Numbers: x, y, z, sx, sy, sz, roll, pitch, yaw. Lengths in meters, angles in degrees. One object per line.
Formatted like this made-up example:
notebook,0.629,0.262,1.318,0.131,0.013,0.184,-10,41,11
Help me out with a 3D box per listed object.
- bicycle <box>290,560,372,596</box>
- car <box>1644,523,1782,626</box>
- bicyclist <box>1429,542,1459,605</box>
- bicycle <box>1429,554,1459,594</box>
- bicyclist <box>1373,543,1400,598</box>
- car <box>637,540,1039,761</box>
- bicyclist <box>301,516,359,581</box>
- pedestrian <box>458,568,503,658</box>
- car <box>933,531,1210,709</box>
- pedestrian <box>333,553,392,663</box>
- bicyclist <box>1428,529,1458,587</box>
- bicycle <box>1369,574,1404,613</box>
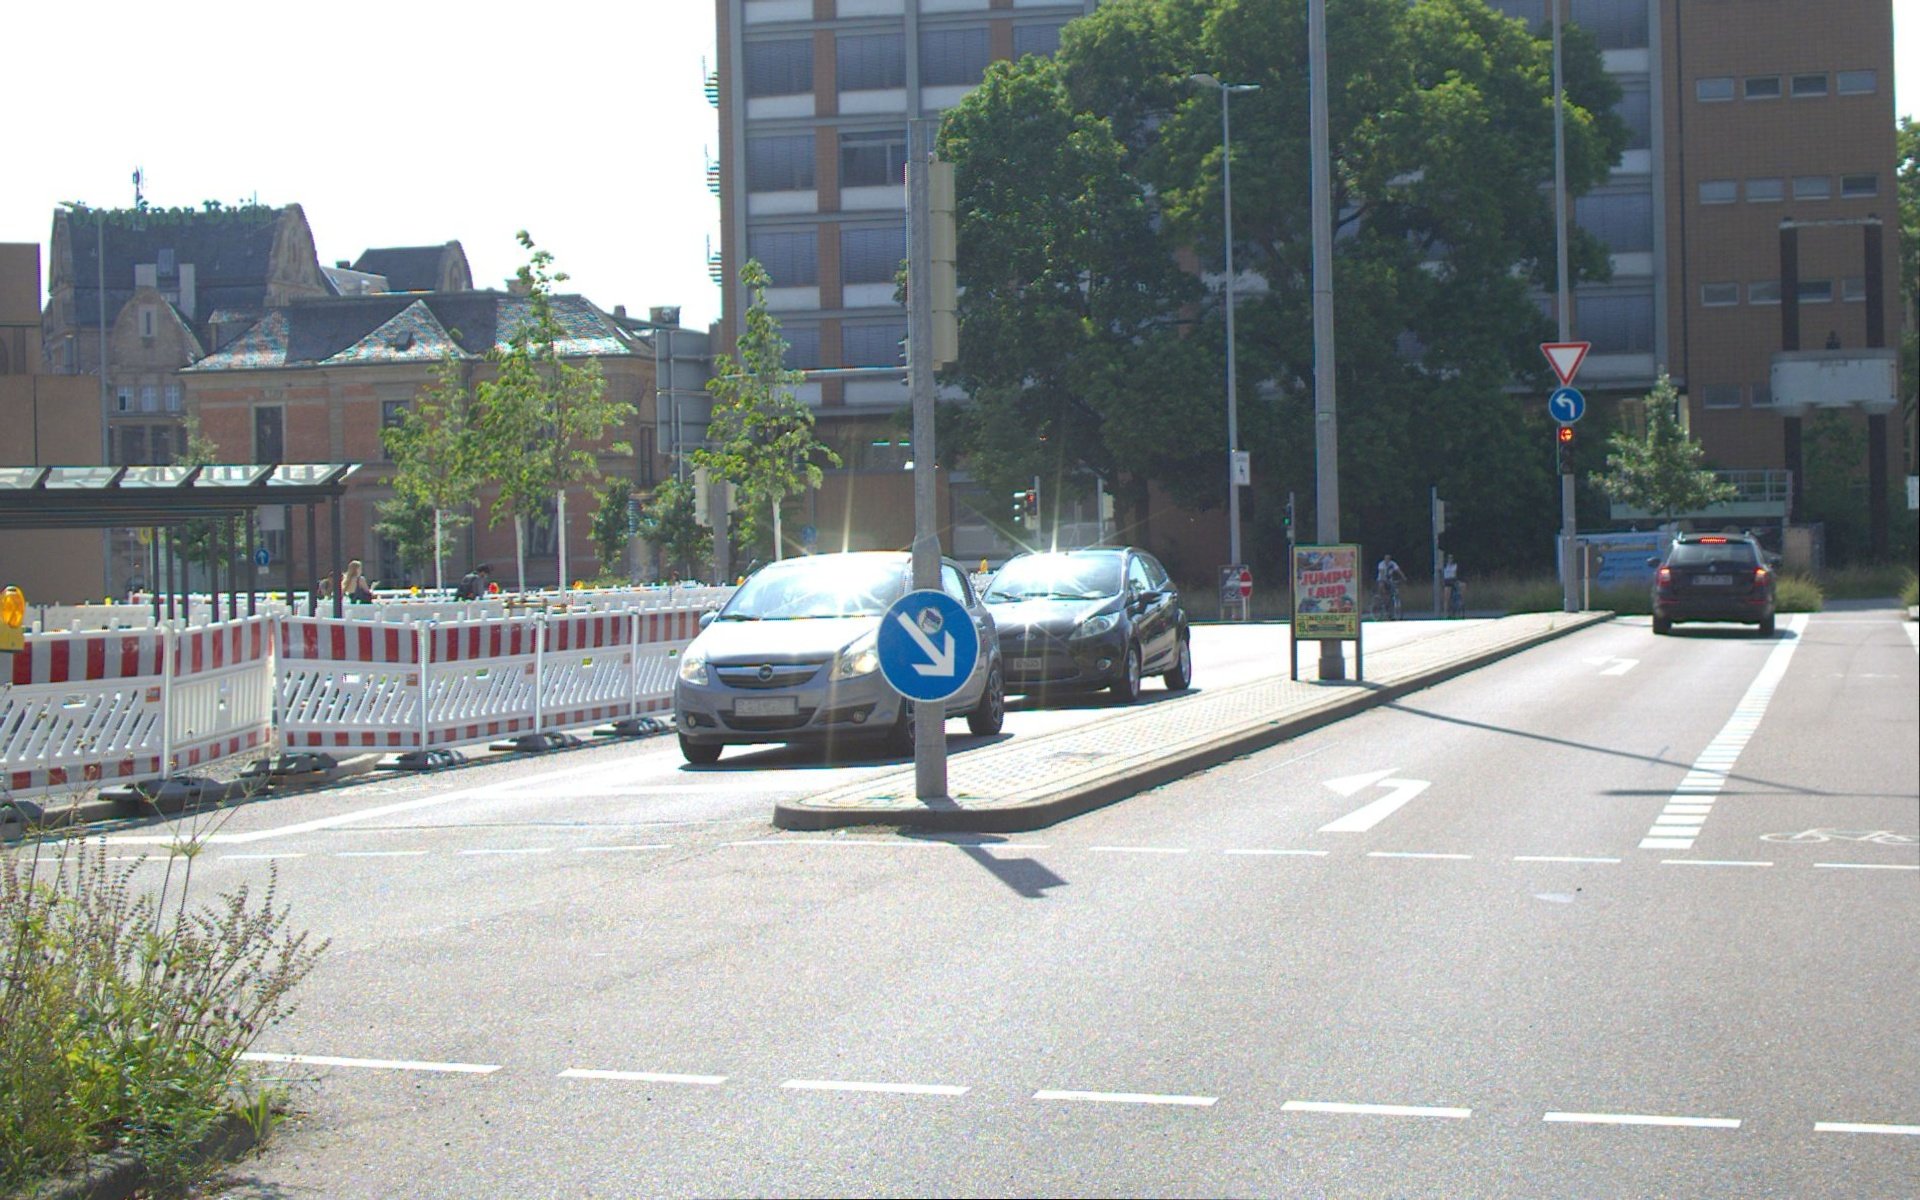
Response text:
bicycle,-14.478,-0.503,79.095,1.893,0.790,0.559,-1,2,28
car,11.063,-0.407,50.354,1.781,1.438,3.815,1,1,15
bicyclist,12.387,-0.676,87.974,0.619,1.576,1.013,-4,0,10
bicycle,12.387,-0.676,87.974,0.619,0.957,1.967,-4,0,10
bicyclist,11.257,-0.777,90.700,0.539,1.412,1.029,-2,0,13
car,-0.802,0.321,25.393,1.795,1.407,3.997,-3,1,15
bicyclist,-14.483,-1.182,79.087,1.167,1.469,0.563,-1,1,27
pedestrian,-8.060,0.218,57.763,0.630,1.486,0.617,-2,1,-1
car,1.112,0.149,32.330,1.667,1.446,3.815,-4,0,15
pedestrian,-9.717,0.145,55.952,0.736,1.746,1.111,-2,-1,-1
bicyclist,12.361,-1.076,87.973,0.619,1.438,0.920,-4,0,10
bicycle,11.292,-0.180,90.947,0.704,0.974,2.030,-2,1,13
